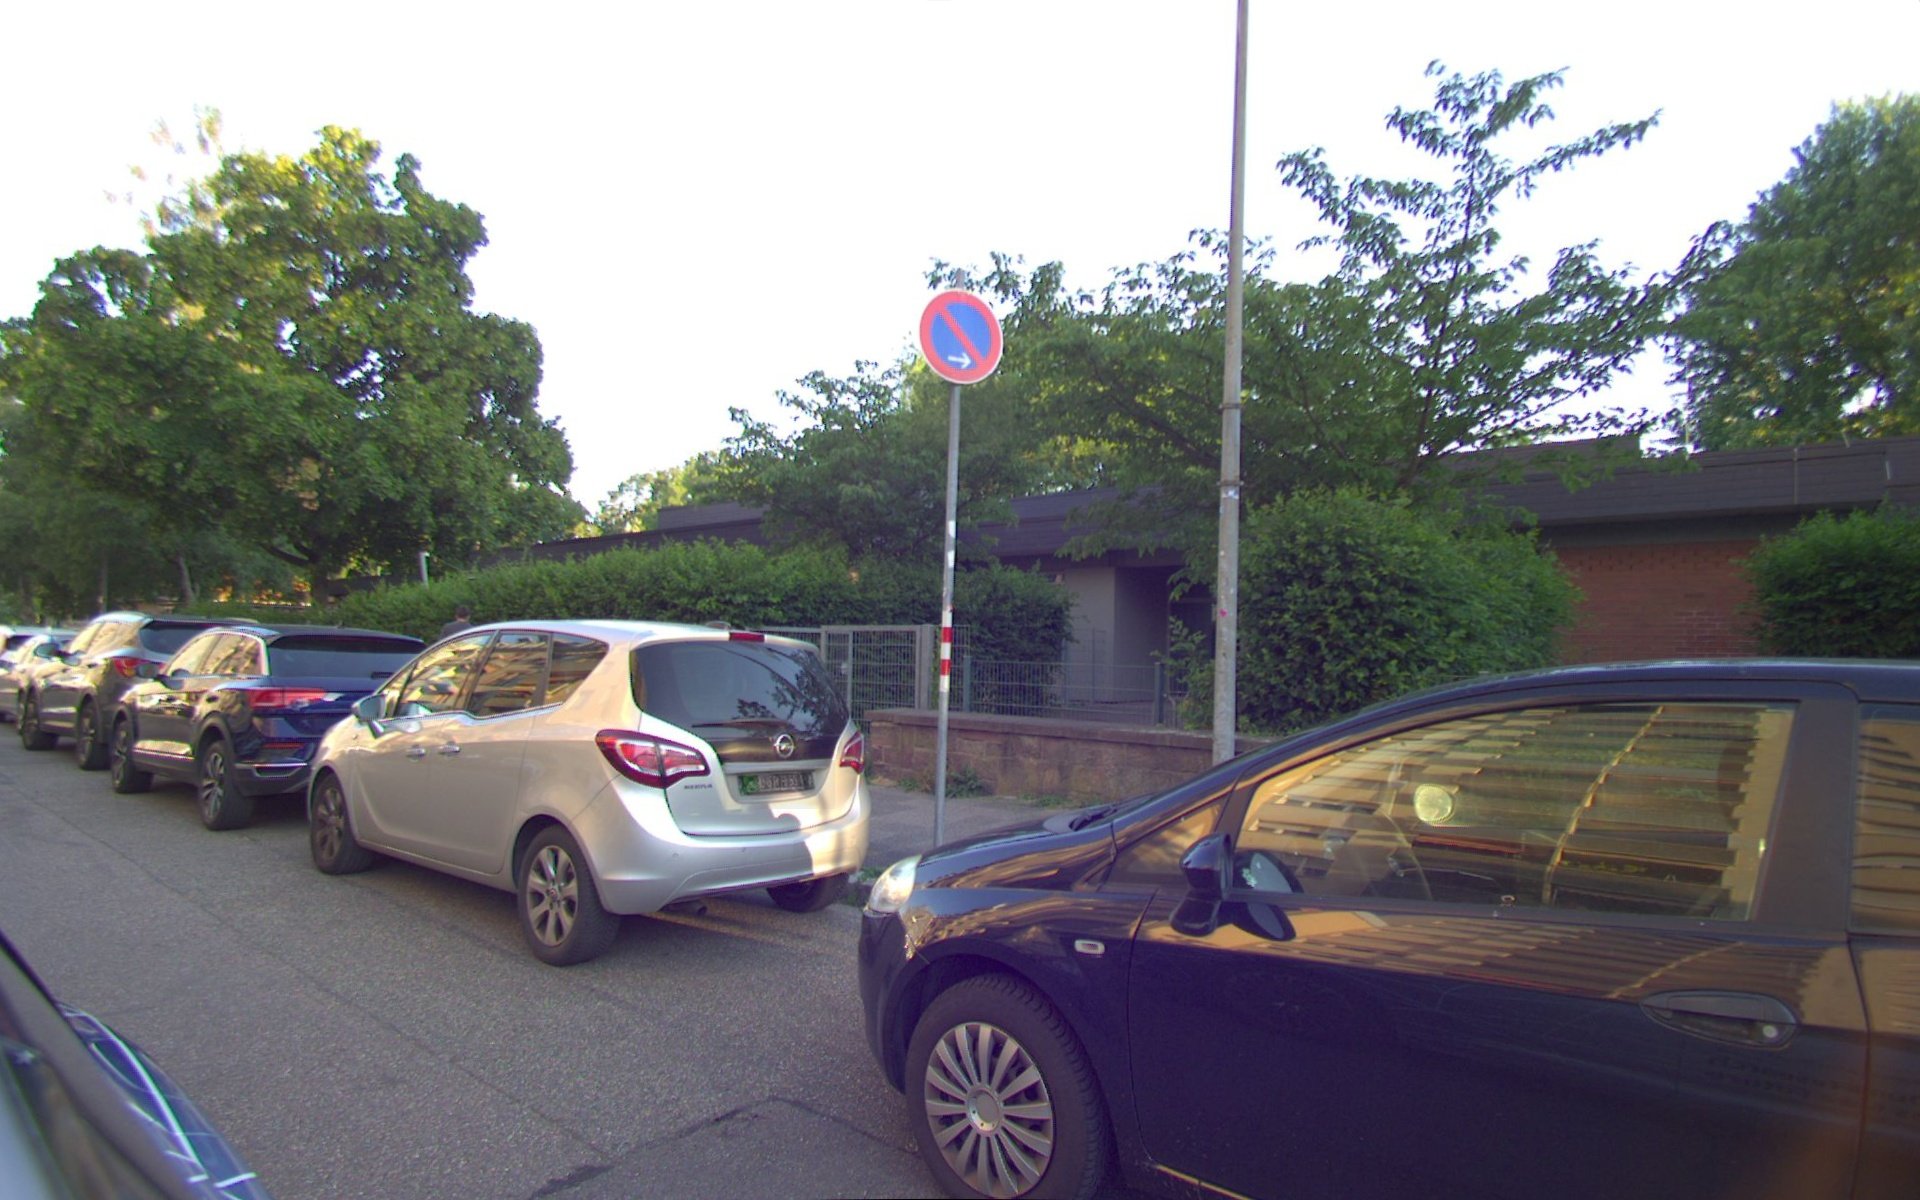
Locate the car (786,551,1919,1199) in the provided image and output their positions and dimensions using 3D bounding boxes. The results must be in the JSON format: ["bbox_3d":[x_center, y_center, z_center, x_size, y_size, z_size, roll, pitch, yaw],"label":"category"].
[{"bbox_3d":[1.514,0.786,2.400,3.691,1.579,1.717,-2,-5,37],"label":"car"}]

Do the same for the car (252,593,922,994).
[{"bbox_3d":[-2.370,0.865,5.970,4.123,1.579,1.717,-2,-5,37],"label":"car"}]

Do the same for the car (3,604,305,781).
[{"bbox_3d":[-9.644,1.012,12.003,4.316,1.743,1.717,-2,-5,37],"label":"car"}]

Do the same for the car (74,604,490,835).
[{"bbox_3d":[-6.072,0.922,8.904,4.160,1.579,1.717,-2,-5,37],"label":"car"}]

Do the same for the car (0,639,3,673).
[{"bbox_3d":[-29.818,1.843,30.041,3.413,1.436,1.603,-2,-5,40],"label":"car"}]

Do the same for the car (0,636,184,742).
[{"bbox_3d":[-13.889,1.321,15.777,4.280,1.438,1.717,-2,-5,37],"label":"car"}]

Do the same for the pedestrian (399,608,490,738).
[{"bbox_3d":[-7.230,0.992,14.197,0.749,1.745,0.890,-2,-1,38],"label":"pedestrian"}]

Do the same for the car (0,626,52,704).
[{"bbox_3d":[-21.707,1.408,22.464,3.978,1.644,1.715,-2,-5,41],"label":"car"}]

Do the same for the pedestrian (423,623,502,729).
[{"bbox_3d":[-7.520,1.127,15.306,0.900,1.519,0.741,-2,-1,38],"label":"pedestrian"}]

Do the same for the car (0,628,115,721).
[{"bbox_3d":[-17.556,1.351,18.907,4.273,1.555,1.742,-2,-5,37],"label":"car"}]
